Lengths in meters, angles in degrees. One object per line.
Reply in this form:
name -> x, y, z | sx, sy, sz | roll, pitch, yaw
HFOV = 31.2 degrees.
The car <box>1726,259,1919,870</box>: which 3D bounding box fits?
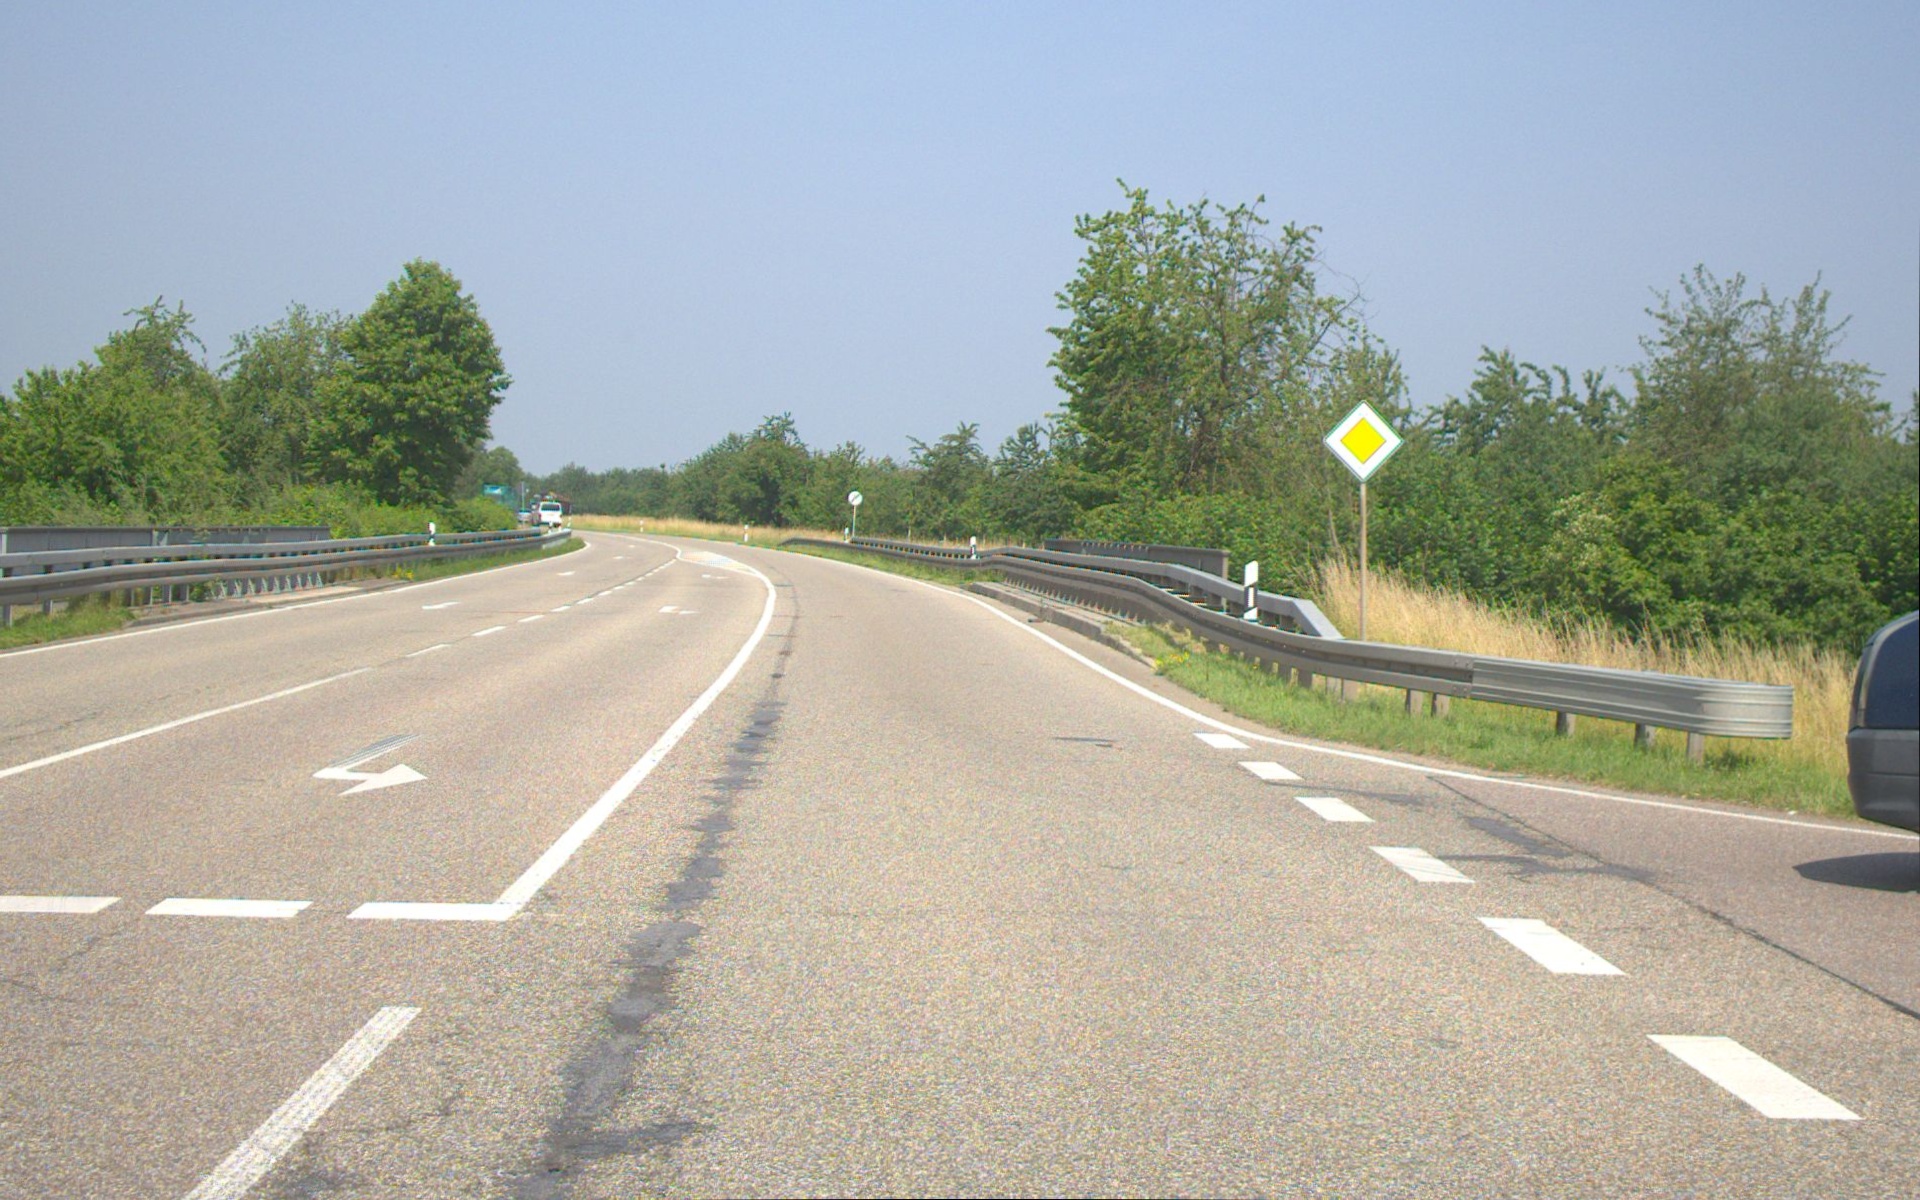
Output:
car -> 6.518, -0.040, 13.877 | 6.306, 2.566, 2.058 | 3, 2, 36
